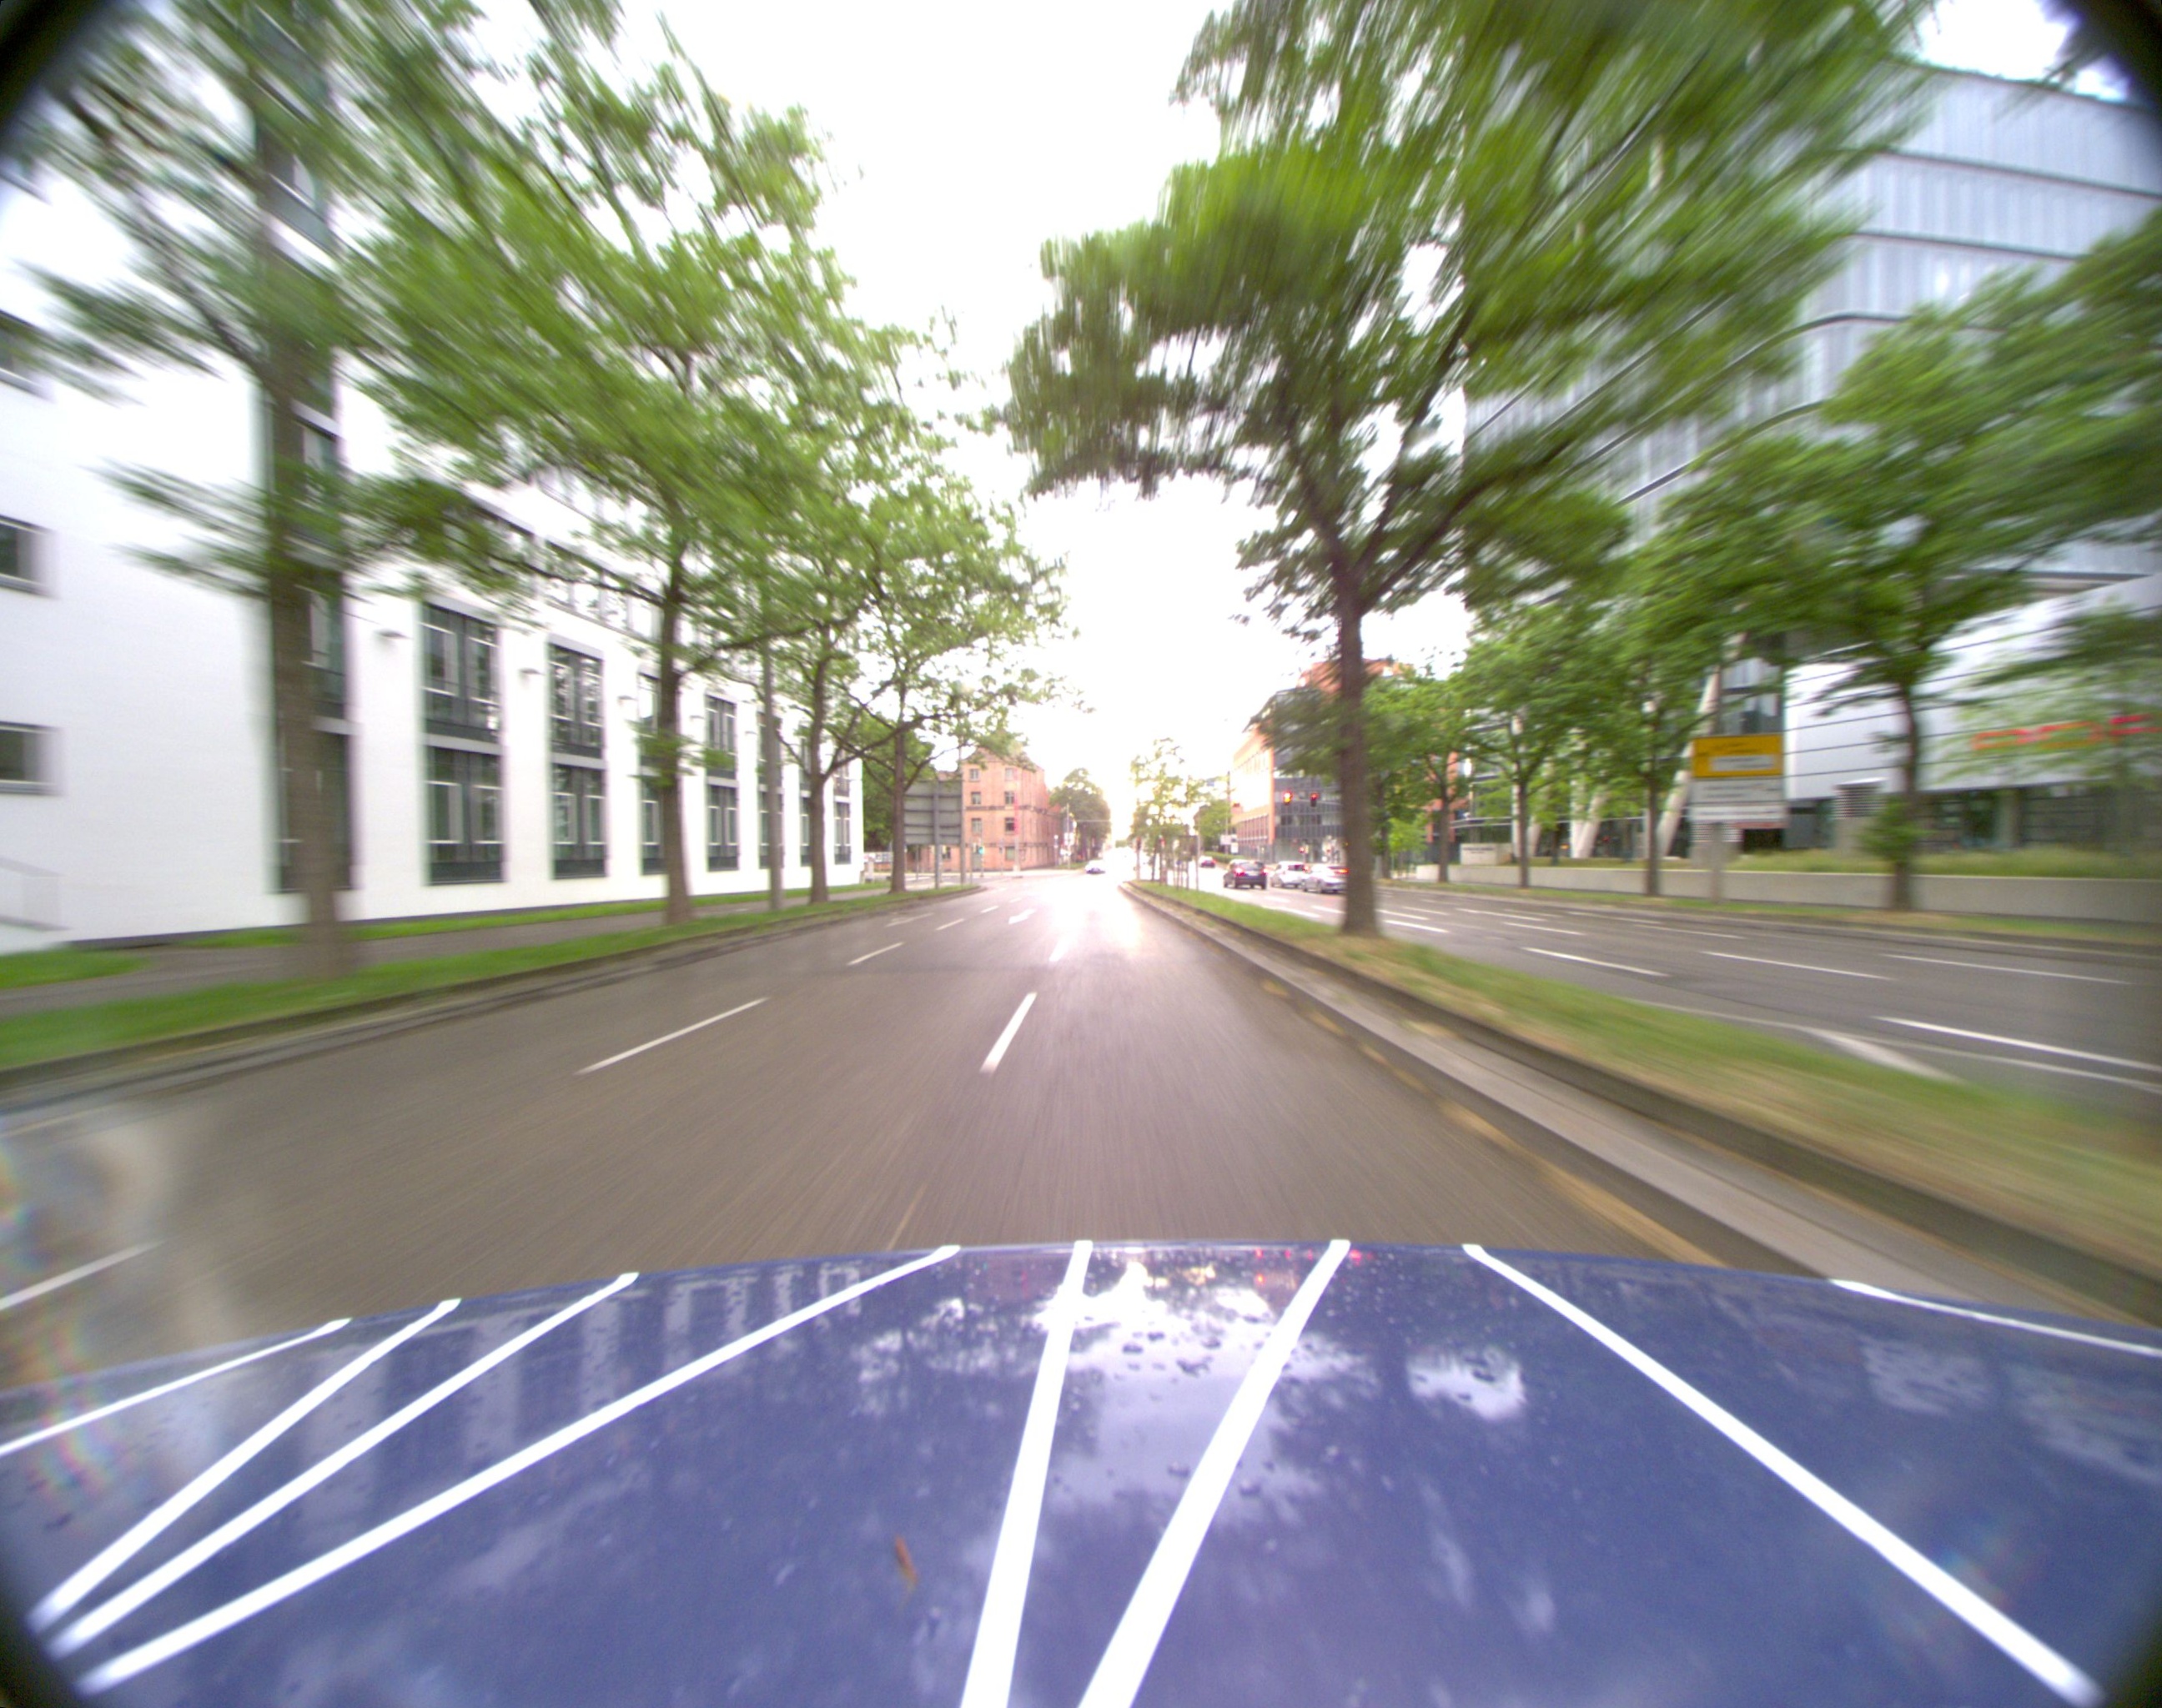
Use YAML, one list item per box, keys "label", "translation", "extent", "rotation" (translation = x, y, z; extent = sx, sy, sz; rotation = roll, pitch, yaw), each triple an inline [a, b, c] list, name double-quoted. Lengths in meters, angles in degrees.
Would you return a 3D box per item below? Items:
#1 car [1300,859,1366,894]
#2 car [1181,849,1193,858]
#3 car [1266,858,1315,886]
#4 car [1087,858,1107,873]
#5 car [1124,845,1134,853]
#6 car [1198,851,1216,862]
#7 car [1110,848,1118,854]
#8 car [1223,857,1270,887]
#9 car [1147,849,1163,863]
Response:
- label: "car"
  translation: [12.272, 1.054, 37.249]
  extent: [1.894, 1.444, 4.000]
  rotation: [-3, 1, 1]
- label: "car"
  translation: [18.986, -0.136, 135.645]
  extent: [1.782, 1.444, 4.001]
  rotation: [-3, 1, 4]
- label: "car"
  translation: [12.445, 1.031, 45.293]
  extent: [1.783, 1.444, 4.000]
  rotation: [-3, 1, 1]
- label: "car"
  translation: [1.650, 1.131, 76.820]
  extent: [1.877, 1.346, 4.332]
  rotation: [-3, 1, 3]
- label: "car"
  translation: [10.753, -1.046, 169.661]
  extent: [1.998, 1.674, 4.000]
  rotation: [0, 0, 1]
- label: "car"
  translation: [16.870, 0.334, 102.086]
  extent: [1.783, 1.444, 4.000]
  rotation: [-3, 1, 1]
- label: "car"
  translation: [9.036, -0.779, 205.673]
  extent: [1.998, 1.576, 4.001]
  rotation: [0, 1, 4]
- label: "car"
  translation: [9.402, 0.996, 43.411]
  extent: [1.846, 1.581, 4.173]
  rotation: [0, 1, 1]
- label: "car"
  translation: [10.704, 0.292, 110.418]
  extent: [1.998, 2.002, 4.000]
  rotation: [0, 0, 1]
